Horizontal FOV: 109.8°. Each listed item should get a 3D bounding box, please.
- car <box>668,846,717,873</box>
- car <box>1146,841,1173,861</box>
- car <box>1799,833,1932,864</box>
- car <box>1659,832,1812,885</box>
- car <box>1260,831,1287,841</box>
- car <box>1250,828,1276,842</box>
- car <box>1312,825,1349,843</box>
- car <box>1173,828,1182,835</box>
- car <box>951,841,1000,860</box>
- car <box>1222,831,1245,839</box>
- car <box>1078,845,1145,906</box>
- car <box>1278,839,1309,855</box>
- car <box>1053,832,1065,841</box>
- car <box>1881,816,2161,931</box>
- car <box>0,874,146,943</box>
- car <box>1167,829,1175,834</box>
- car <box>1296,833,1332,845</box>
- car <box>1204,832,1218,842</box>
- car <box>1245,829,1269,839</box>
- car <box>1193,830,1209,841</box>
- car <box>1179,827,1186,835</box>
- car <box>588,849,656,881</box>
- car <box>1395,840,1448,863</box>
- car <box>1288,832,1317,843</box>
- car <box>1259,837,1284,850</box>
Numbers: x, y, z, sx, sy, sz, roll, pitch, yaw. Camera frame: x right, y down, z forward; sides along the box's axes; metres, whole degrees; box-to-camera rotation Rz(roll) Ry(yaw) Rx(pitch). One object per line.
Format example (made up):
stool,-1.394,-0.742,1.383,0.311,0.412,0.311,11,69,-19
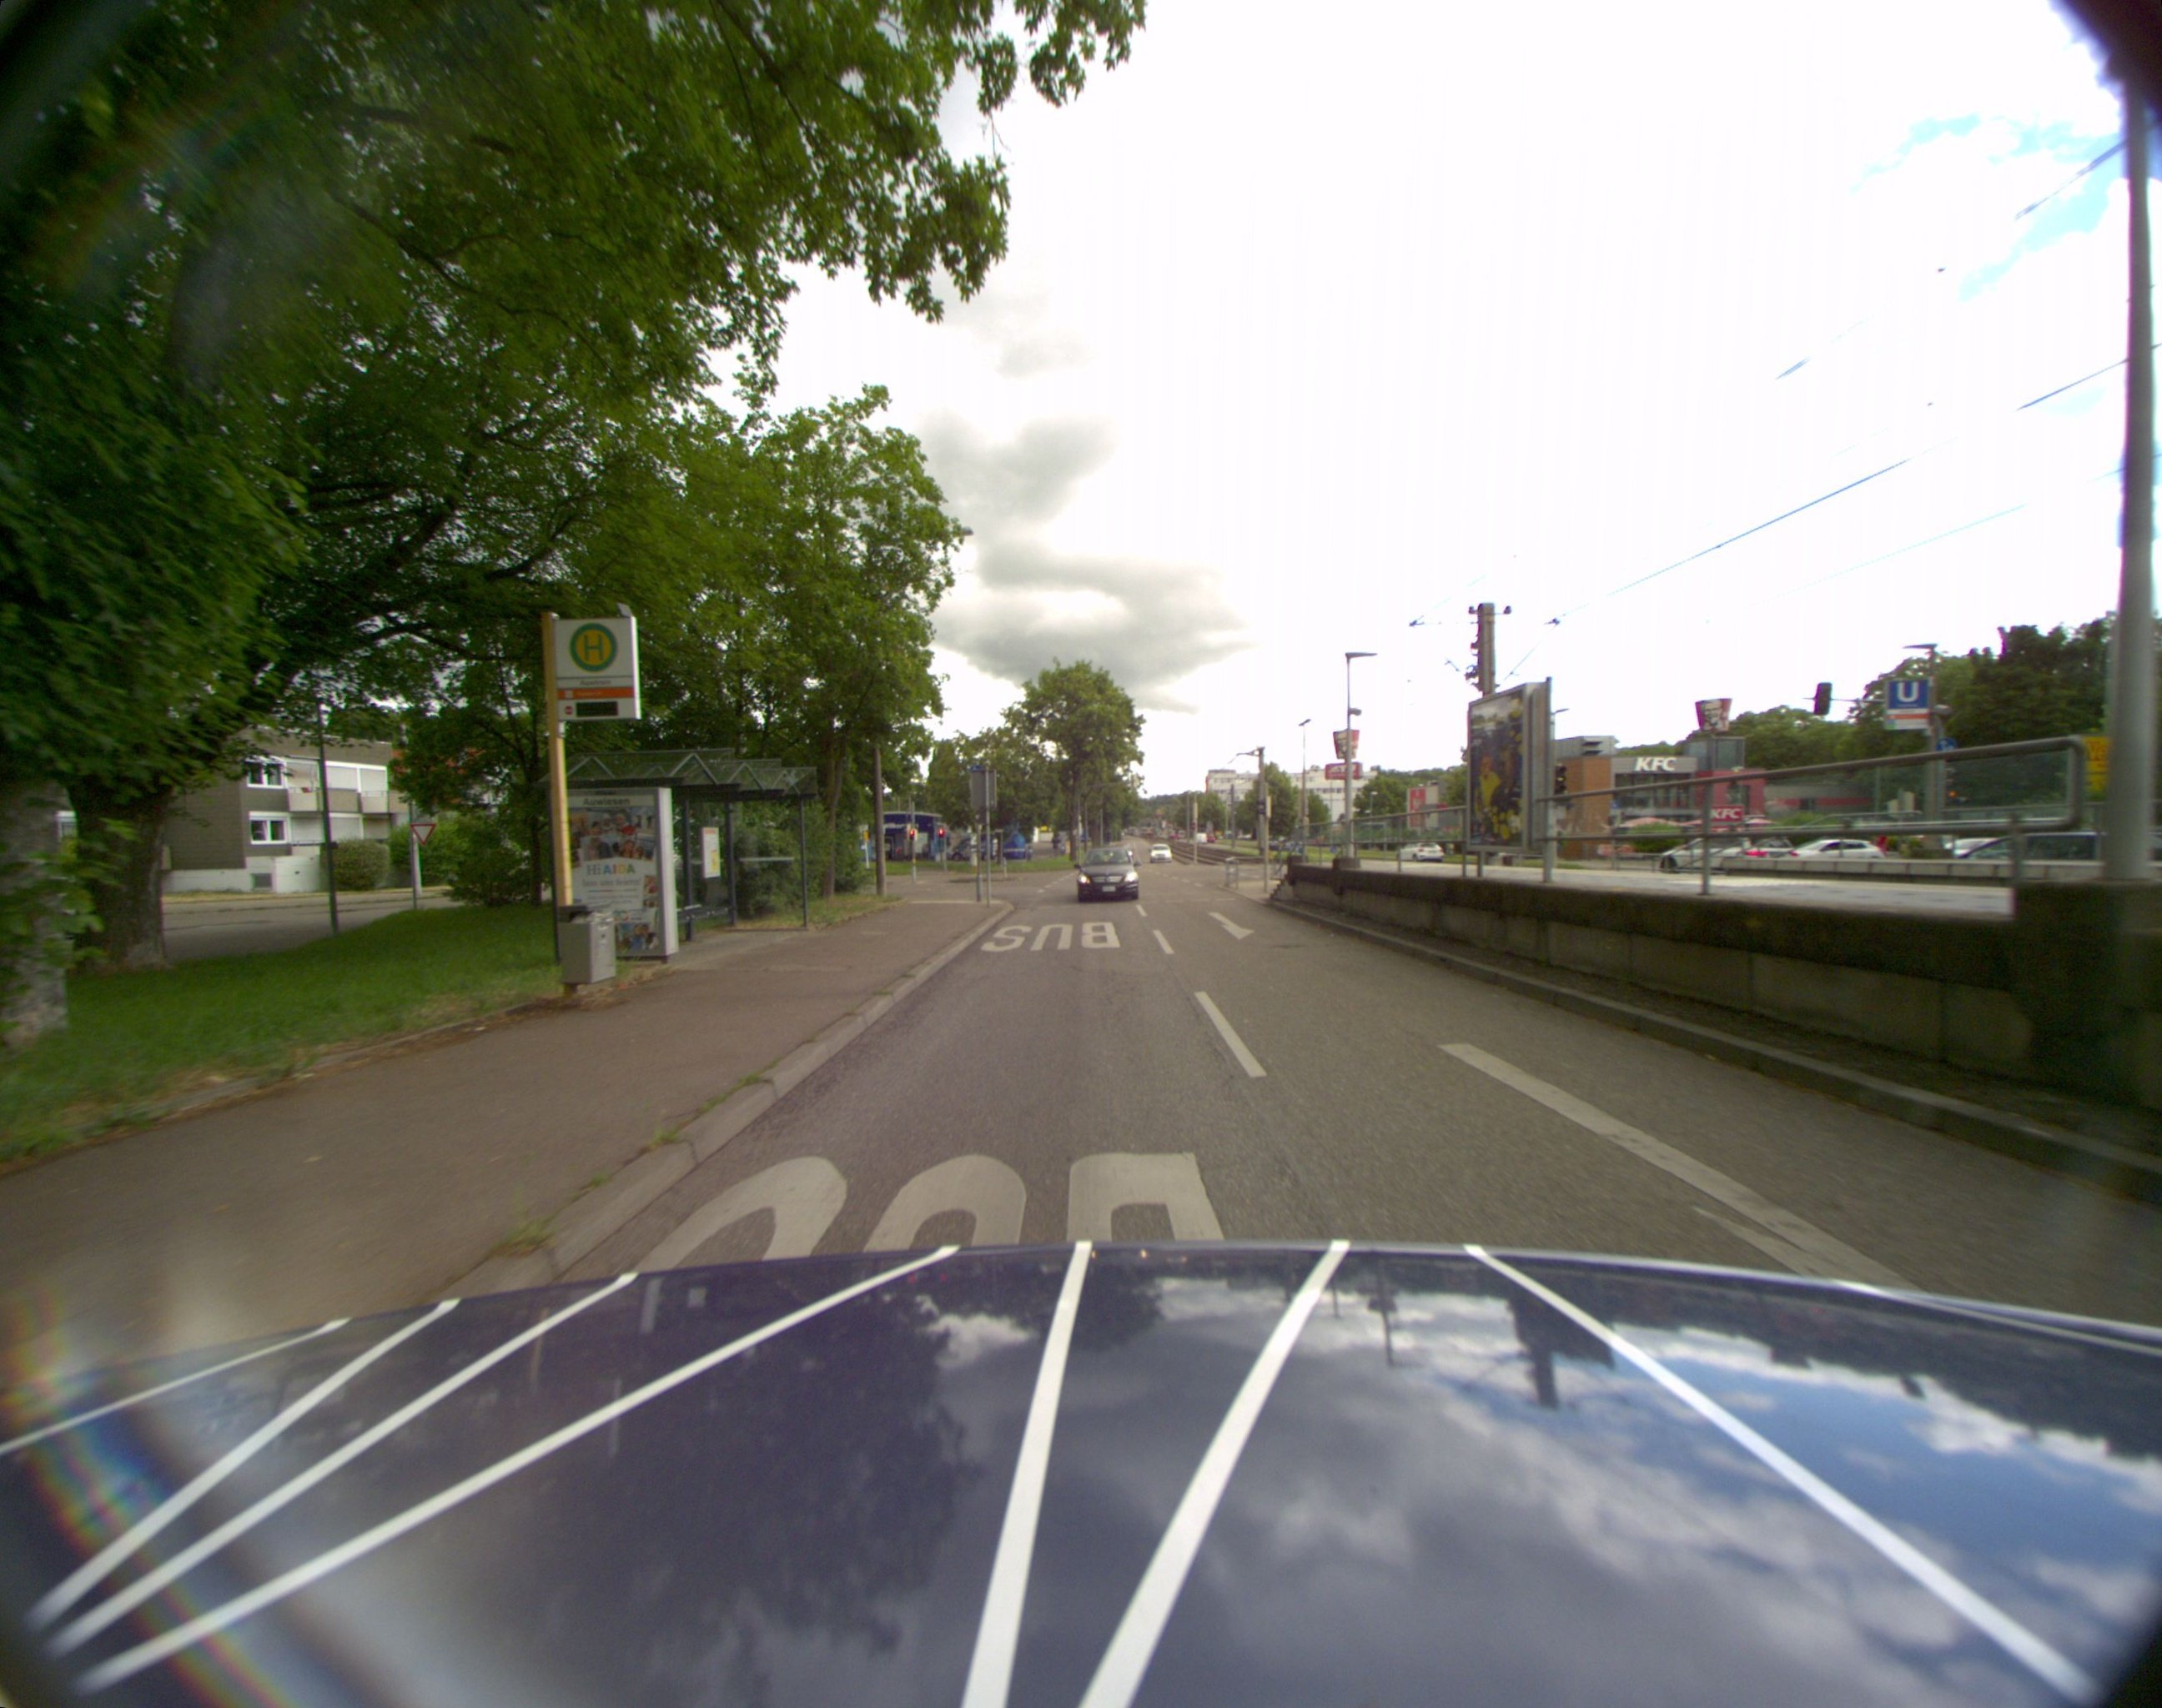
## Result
car,-30.550,0.399,59.870,1.620,1.832,3.922,-3,2,0
car,6.372,-0.296,61.968,1.786,1.436,3.999,-3,2,2
car,36.400,-0.277,35.366,3.884,1.400,1.848,0,2,12
car,23.508,0.103,27.550,1.714,1.741,4.398,0,2,1
car,34.909,-3.295,137.904,4.481,1.498,1.795,-3,2,1
car,35.229,-3.697,146.952,4.480,2.733,2.288,0,2,3
car,32.217,-2.586,98.105,3.996,2.153,2.058,-3,2,3
car,27.425,-6.468,215.046,1.999,2.002,3.998,1,2,-1
car,-9.727,-0.369,69.965,4.215,1.688,1.837,-1,1,-16
car,33.173,-4.154,165.240,4.610,1.484,2.000,-3,2,7
car,0.967,0.574,23.184,1.786,1.614,4.000,-2,1,4
car,19.958,-0.710,71.383,1.599,1.438,4.051,0,2,-3
car,-4.611,-3.672,158.095,1.998,1.630,4.326,2,2,4
car,18.440,0.258,14.707,1.701,1.850,3.998,-3,2,0
car,-30.921,1.631,22.198,4.005,1.756,1.995,-5,2,-33
car,26.916,-6.754,226.584,1.788,1.573,4.480,0,2,-2
car,33.278,-2.163,108.622,4.383,1.346,2.195,-3,2,3
car,26.395,-3.389,154.074,1.999,2.002,4.105,-1,2,-1
car,36.212,-4.160,156.416,4.354,1.908,2.000,-3,2,7
car,22.434,-3.492,141.804,1.999,2.002,4.883,0,2,-2
car,31.674,-7.123,237.202,1.873,2.485,5.999,1,2,3
car,-30.406,0.686,50.518,1.722,1.832,4.406,-3,2,0
car,23.337,-0.207,52.233,1.690,1.438,3.998,1,2,-2
car,33.757,-2.503,115.872,3.996,1.413,1.937,-3,2,3
car,23.539,-1.283,93.982,1.999,1.473,4.505,1,1,0
